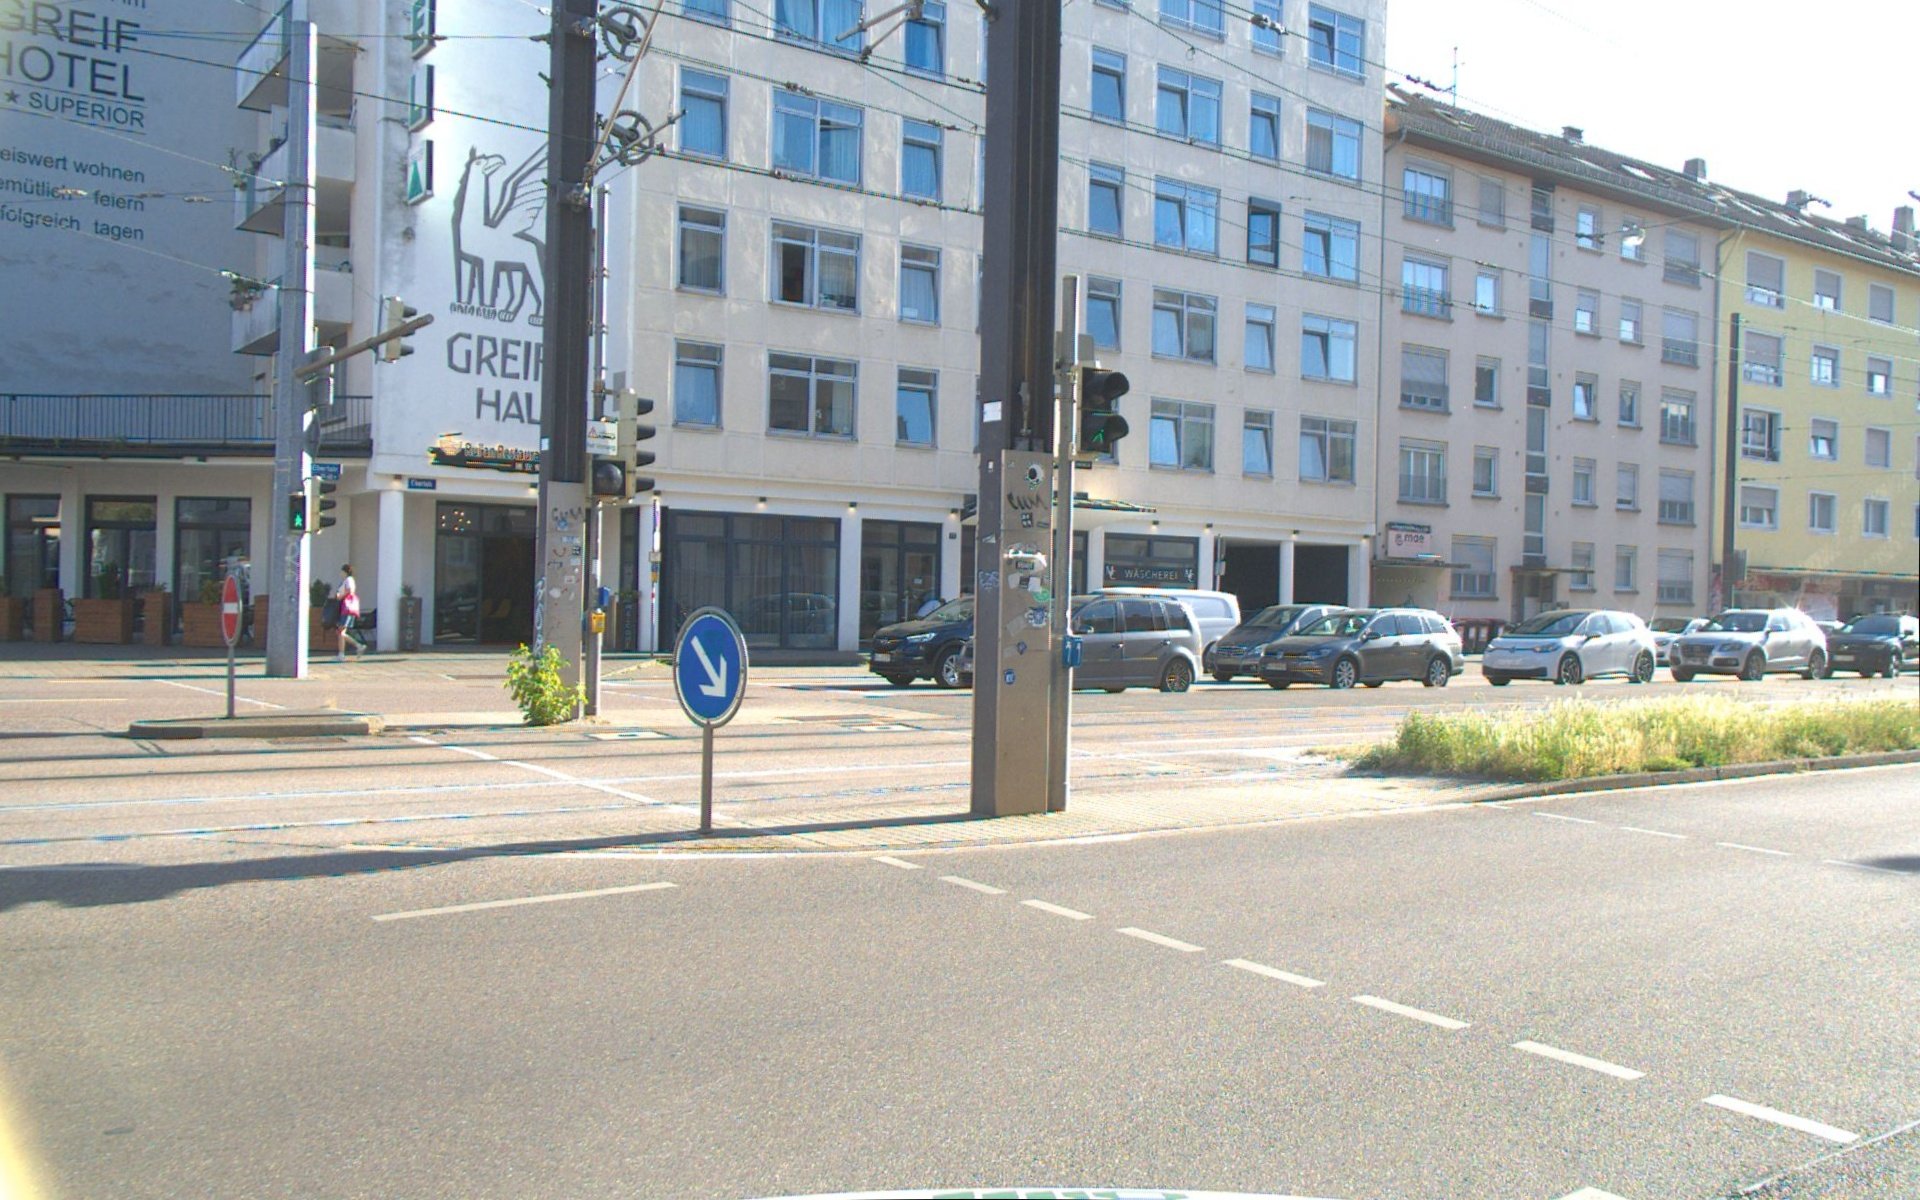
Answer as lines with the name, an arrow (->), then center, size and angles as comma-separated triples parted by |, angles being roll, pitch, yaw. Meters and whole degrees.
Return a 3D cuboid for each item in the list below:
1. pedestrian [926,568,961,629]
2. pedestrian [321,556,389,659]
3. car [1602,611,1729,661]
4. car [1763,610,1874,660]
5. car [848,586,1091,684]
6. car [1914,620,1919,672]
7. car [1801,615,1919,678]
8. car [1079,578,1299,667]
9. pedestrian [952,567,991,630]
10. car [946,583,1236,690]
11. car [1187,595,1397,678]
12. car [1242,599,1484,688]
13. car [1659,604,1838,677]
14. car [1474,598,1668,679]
pedestrian -> -0.389, -0.038, 38.710 | 0.491, 1.400, 0.599 | 1, -2, 40
pedestrian -> -10.858, 0.135, 29.681 | 0.900, 1.777, 0.727 | 4, -2, -38
car -> 21.824, 1.124, 51.110 | 4.008, 1.460, 1.760 | 2, -1, -35
car -> 29.156, 1.167, 56.157 | 3.757, 1.609, 1.815 | 1, 0, -35
car -> 0.203, 0.625, 29.044 | 4.002, 1.603, 1.771 | 2, -1, -37
car -> 28.938, 1.360, 47.071 | 4.245, 1.471, 1.802 | 2, -1, -41
car -> 23.754, 1.220, 42.679 | 4.521, 1.506, 1.943 | 2, -1, -38
car -> 5.477, 0.542, 39.195 | 5.267, 1.901, 1.925 | 1, 3, -36
pedestrian -> 0.268, -0.038, 38.224 | 0.671, 1.400, 0.527 | 1, -2, 33
car -> 2.142, 0.605, 26.503 | 4.399, 1.575, 1.914 | 2, -1, -34
car -> 6.931, 0.778, 34.357 | 4.277, 1.603, 1.963 | 2, -1, -37
car -> 7.471, 0.821, 30.493 | 4.486, 1.517, 1.802 | 2, -1, -34
car -> 18.267, 0.931, 38.239 | 4.581, 1.605, 1.846 | 1, -2, -37
car -> 12.603, 0.808, 34.013 | 4.199, 1.541, 1.820 | 2, -1, -38
